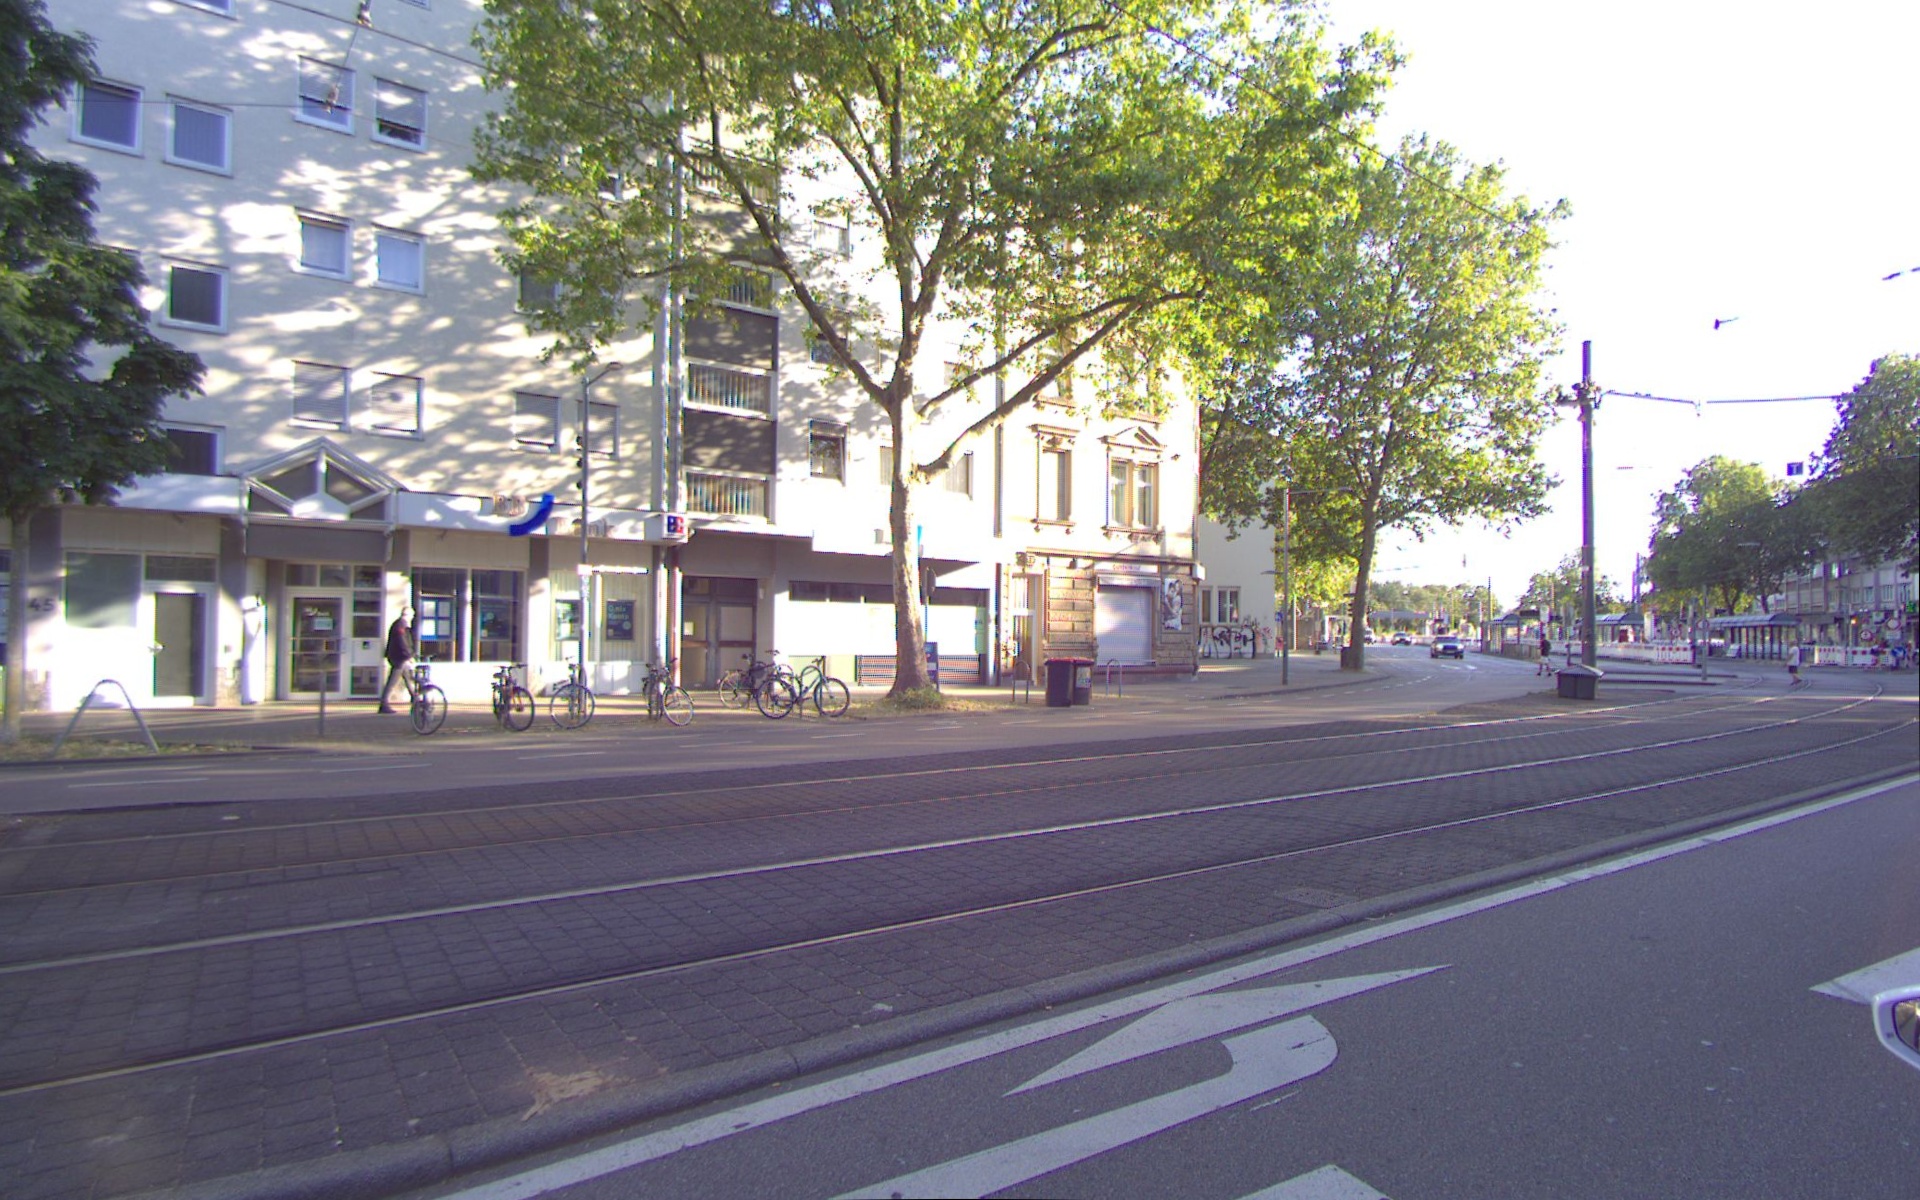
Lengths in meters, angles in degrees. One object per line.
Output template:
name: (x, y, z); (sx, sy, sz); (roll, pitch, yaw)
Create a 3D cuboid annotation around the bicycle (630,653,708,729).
bicycle: (-4.981, 1.510, 17.111); (0.646, 1.139, 1.880); (2, -1, -36)

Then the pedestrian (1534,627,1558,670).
pedestrian: (23.797, 1.961, 40.809); (0.663, 1.733, 0.431); (2, 0, 2)

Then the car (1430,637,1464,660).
car: (32.861, 3.248, 67.852); (1.856, 1.492, 4.205); (0, -2, 24)

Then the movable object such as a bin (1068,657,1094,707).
movable object such as a bin: (2.747, 1.857, 22.850); (0.562, 1.108, 0.477); (0, -2, 5)

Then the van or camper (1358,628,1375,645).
van or camper: (58.422, 5.306, 144.485); (2.132, 2.349, 5.103); (0, -2, 21)

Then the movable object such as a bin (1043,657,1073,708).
movable object such as a bin: (2.168, 1.816, 22.232); (0.634, 1.108, 0.546); (0, -2, 5)

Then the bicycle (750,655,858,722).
bicycle: (-2.810, 1.577, 18.232); (1.891, 1.139, 0.505); (2, -1, -34)

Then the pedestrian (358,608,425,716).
pedestrian: (-9.918, 1.069, 17.543); (0.959, 1.811, 0.615); (2, 0, -31)

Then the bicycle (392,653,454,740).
bicycle: (-7.970, 1.388, 14.870); (0.529, 1.139, 1.880); (2, -1, -36)

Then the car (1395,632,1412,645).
car: (56.989, 4.946, 129.154); (1.855, 1.606, 4.206); (0, -2, 22)

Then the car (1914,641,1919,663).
car: (64.521, 3.407, 65.863); (1.635, 1.488, 3.412); (-3, -3, 22)

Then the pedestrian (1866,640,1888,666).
pedestrian: (46.540, 2.689, 50.984); (0.768, 1.321, 0.591); (-1, -2, 40)

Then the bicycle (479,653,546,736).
bicycle: (-6.978, 1.429, 15.618); (0.529, 1.139, 1.880); (2, -1, -36)

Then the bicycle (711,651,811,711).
bicycle: (-3.957, 1.587, 20.028); (1.891, 1.139, 0.505); (2, -1, -34)

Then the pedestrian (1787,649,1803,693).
pedestrian: (28.963, 2.457, 34.861); (0.403, 1.524, 0.515); (-1, -2, 38)

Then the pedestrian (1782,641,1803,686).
pedestrian: (28.541, 2.170, 34.435); (0.513, 1.524, 0.591); (-1, -2, 37)

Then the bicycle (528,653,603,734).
bicycle: (-6.340, 1.458, 16.091); (0.646, 1.139, 1.880); (2, -1, -36)
